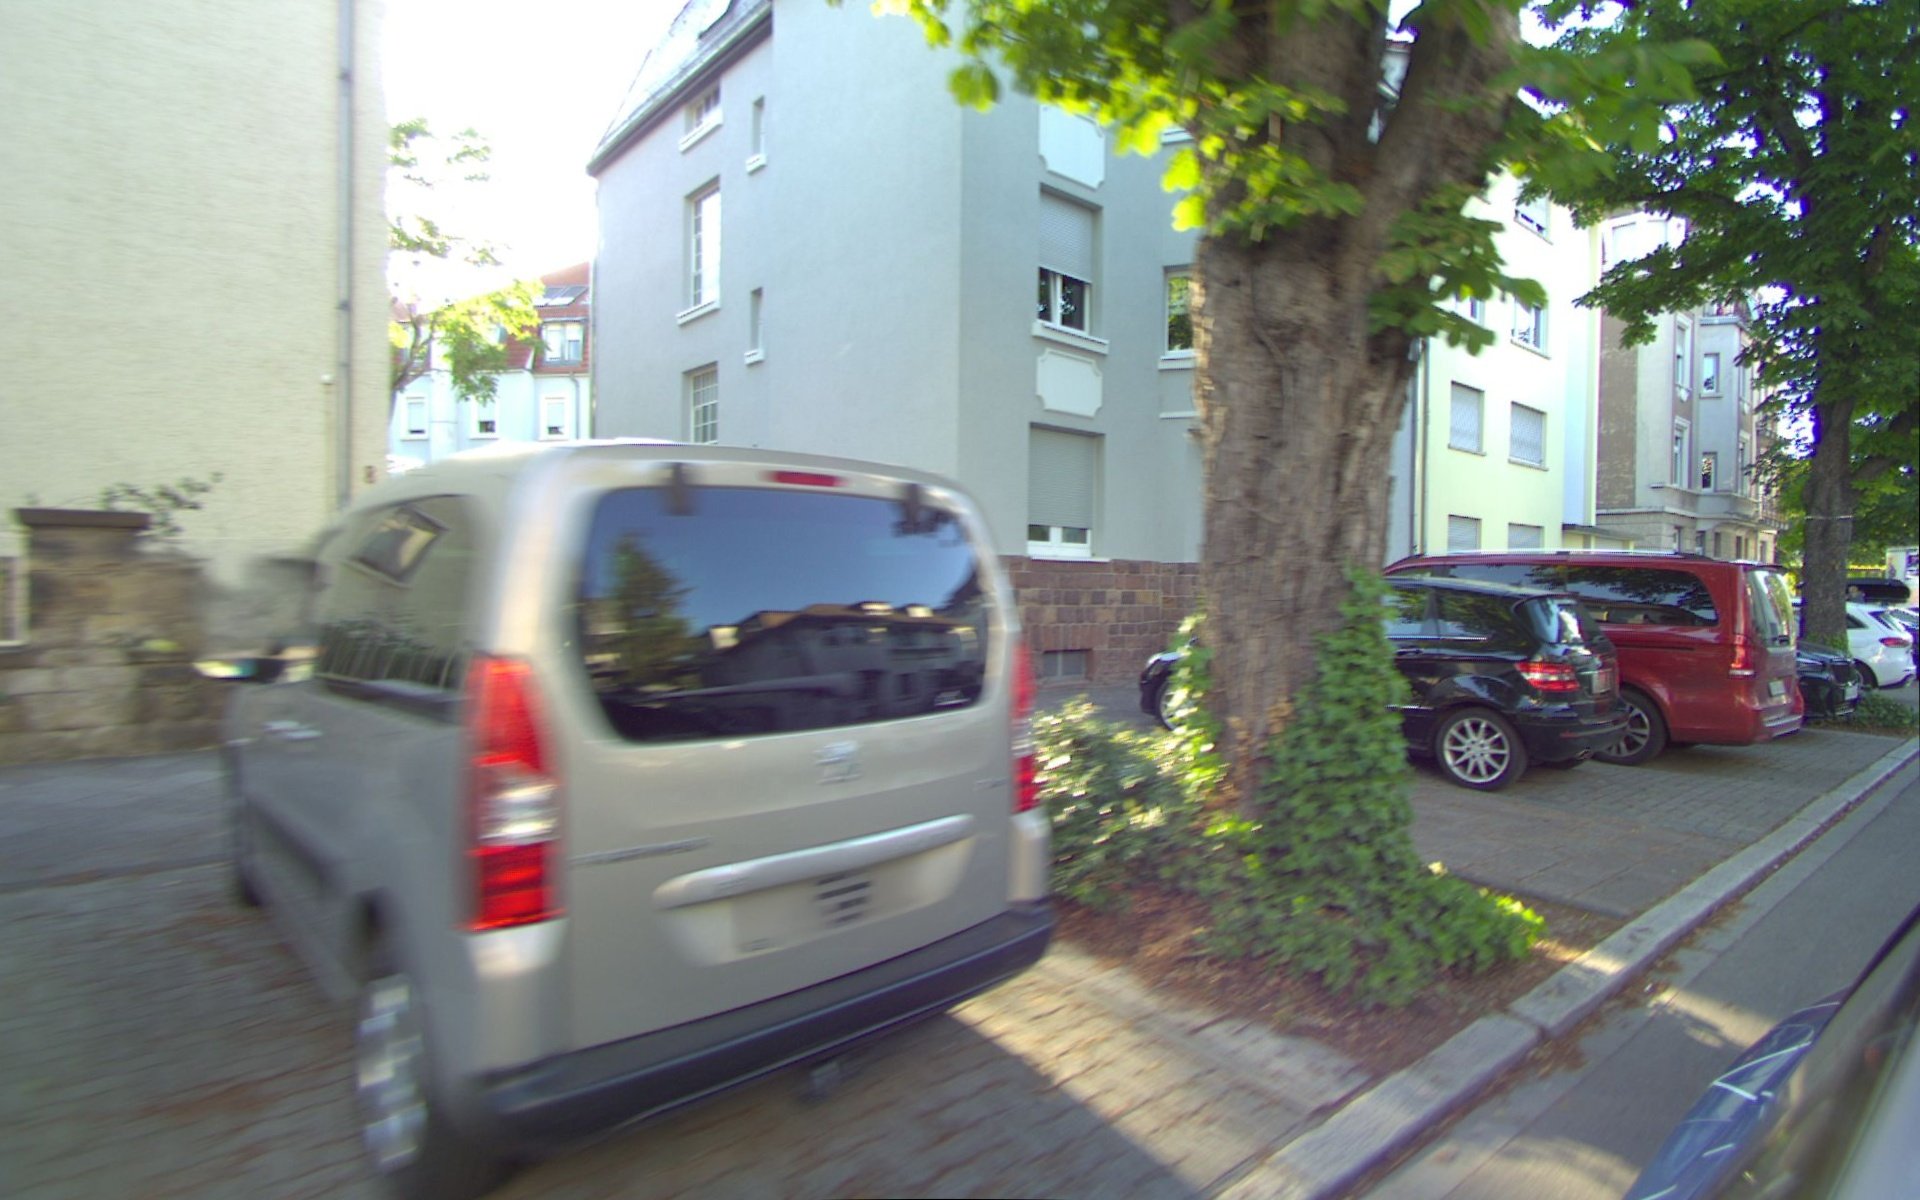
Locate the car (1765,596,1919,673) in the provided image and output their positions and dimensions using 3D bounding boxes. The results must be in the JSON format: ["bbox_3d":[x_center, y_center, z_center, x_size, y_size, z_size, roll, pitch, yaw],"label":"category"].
[{"bbox_3d":[19.183,0.695,20.953,1.573,1.460,3.679,0,1,-40],"label":"car"}]

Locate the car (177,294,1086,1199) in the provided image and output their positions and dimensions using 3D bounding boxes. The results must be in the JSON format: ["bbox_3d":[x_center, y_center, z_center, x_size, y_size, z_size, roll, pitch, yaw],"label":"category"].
[{"bbox_3d":[-1.725,0.344,3.955,1.729,1.908,4.306,-1,2,-43],"label":"car"}]

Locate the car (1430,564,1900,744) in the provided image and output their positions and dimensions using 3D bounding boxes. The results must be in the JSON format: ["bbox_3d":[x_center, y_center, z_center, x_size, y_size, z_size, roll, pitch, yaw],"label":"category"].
[{"bbox_3d":[8.074,0.466,11.981,1.758,1.726,4.211,1,1,-36],"label":"car"}]

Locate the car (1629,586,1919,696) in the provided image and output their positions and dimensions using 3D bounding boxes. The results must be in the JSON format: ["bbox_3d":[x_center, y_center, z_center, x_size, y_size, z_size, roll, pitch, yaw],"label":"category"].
[{"bbox_3d":[13.338,0.573,16.546,1.646,1.516,3.679,0,1,-40],"label":"car"}]

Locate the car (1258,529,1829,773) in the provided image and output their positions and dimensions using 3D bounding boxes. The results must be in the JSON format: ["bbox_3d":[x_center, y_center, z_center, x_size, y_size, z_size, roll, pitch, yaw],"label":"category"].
[{"bbox_3d":[5.773,0.343,10.623,1.915,1.961,4.818,0,1,-39],"label":"car"}]

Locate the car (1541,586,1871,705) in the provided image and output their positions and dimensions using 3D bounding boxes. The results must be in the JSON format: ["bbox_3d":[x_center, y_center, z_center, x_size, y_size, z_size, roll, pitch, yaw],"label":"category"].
[{"bbox_3d":[10.970,0.572,15.080,1.588,1.480,3.679,0,1,-40],"label":"car"}]

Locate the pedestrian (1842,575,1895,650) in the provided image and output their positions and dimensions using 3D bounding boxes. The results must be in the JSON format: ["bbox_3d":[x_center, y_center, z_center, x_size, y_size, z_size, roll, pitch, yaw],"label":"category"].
[{"bbox_3d":[25.367,0.343,28.254,0.964,2.039,0.998,1,1,-43],"label":"pedestrian"}]

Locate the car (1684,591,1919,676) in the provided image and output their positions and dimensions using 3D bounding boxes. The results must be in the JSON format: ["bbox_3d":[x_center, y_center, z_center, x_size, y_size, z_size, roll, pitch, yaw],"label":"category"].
[{"bbox_3d":[16.962,0.598,20.315,1.573,1.460,3.679,0,1,-40],"label":"car"}]

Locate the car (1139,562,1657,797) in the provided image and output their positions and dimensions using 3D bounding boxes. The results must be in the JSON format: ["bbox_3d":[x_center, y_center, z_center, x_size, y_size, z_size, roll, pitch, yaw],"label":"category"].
[{"bbox_3d":[3.655,0.493,9.020,1.657,1.623,3.903,0,1,-40],"label":"car"}]

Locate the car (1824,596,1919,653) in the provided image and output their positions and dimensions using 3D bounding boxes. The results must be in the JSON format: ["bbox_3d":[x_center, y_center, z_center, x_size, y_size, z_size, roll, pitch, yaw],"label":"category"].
[{"bbox_3d":[26.667,0.696,28.119,1.573,1.504,3.824,0,1,-40],"label":"car"}]

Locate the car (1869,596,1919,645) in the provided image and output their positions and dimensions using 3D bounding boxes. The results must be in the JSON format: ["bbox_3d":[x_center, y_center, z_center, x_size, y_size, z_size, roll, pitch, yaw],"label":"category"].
[{"bbox_3d":[30.793,0.669,31.419,3.815,1.504,1.577,2,1,43],"label":"car"}]

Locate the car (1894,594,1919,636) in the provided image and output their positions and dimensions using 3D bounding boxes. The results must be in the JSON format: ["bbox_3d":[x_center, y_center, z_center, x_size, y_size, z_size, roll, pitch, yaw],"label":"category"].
[{"bbox_3d":[36.298,0.607,36.395,1.573,1.504,3.824,0,1,-40],"label":"car"}]

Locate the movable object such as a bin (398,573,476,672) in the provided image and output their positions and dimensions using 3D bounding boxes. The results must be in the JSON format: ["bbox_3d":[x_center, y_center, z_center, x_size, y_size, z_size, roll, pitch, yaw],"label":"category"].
[{"bbox_3d":[-6.373,0.251,12.332,0.604,1.130,0.681,5,4,44],"label":"movable object such as a bin"}]

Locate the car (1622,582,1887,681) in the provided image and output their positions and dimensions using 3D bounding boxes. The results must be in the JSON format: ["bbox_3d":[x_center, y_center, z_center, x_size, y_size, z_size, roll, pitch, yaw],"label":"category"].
[{"bbox_3d":[14.939,0.517,19.168,1.646,1.618,3.679,0,1,-40],"label":"car"}]

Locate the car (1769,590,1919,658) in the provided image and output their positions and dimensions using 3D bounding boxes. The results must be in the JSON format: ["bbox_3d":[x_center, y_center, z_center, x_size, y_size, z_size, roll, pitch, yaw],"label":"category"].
[{"bbox_3d":[21.991,0.552,24.240,1.573,1.504,3.824,0,1,-40],"label":"car"}]
